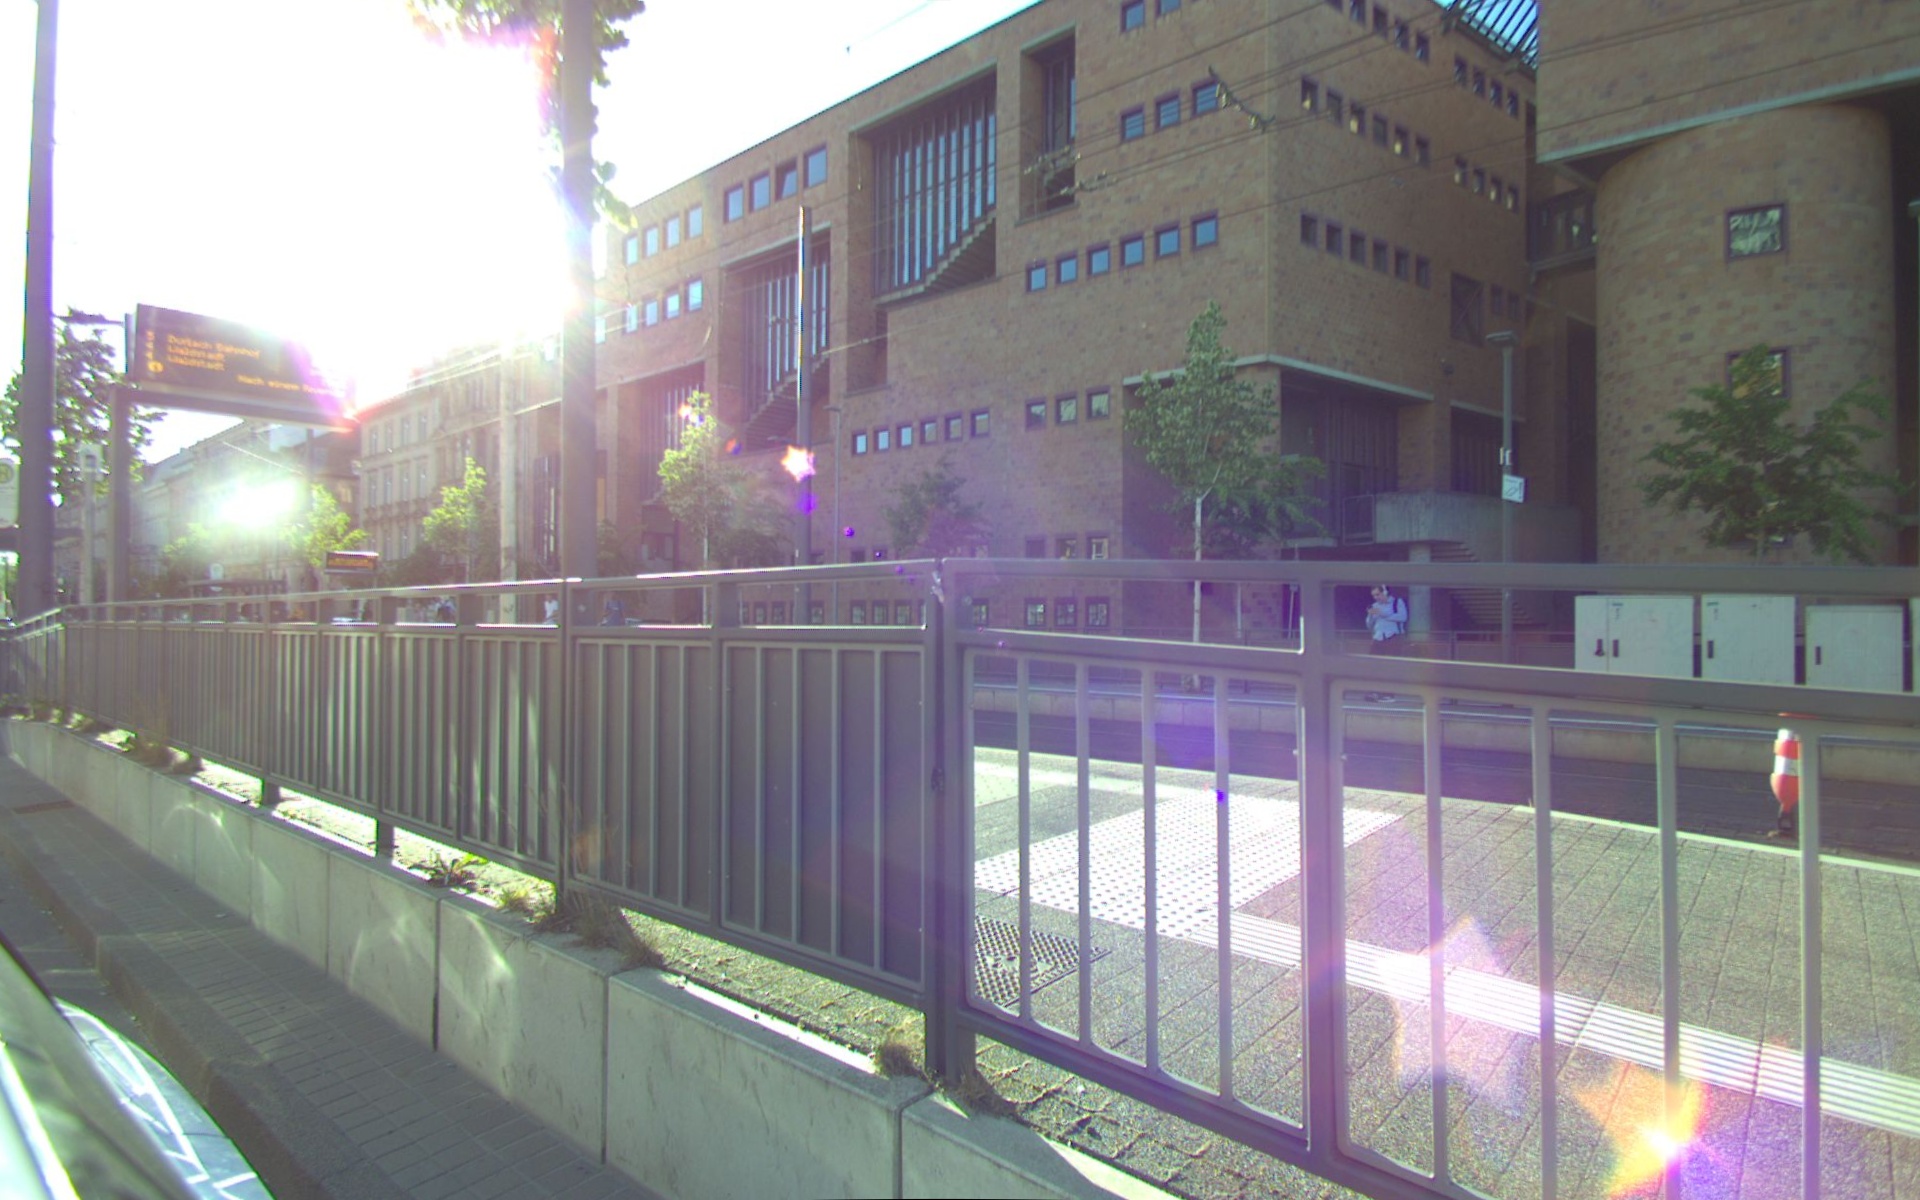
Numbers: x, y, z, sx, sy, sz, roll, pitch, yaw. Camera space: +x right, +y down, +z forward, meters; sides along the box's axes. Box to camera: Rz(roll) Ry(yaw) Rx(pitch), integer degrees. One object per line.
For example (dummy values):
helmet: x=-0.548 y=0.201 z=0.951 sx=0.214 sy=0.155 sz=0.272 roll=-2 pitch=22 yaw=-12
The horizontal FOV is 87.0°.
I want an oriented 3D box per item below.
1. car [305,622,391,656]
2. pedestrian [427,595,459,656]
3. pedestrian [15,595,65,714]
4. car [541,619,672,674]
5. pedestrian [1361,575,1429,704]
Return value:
car: x=-27.680 y=1.741 z=45.719 sx=4.522 sy=1.441 sz=1.808 roll=-1 pitch=-2 yaw=37
pedestrian: x=-15.776 y=0.764 z=30.886 sx=0.668 sy=1.821 sz=0.677 roll=0 pitch=0 yaw=40
pedestrian: x=-19.397 y=1.123 z=21.334 sx=0.625 sy=2.461 sz=0.676 roll=0 pitch=0 yaw=38
car: x=-10.606 y=1.326 z=30.249 sx=4.238 sy=1.441 sz=1.807 roll=0 pitch=0 yaw=40
pedestrian: x=5.786 y=0.504 z=13.450 sx=0.684 sy=1.647 sz=0.660 roll=0 pitch=0 yaw=37
